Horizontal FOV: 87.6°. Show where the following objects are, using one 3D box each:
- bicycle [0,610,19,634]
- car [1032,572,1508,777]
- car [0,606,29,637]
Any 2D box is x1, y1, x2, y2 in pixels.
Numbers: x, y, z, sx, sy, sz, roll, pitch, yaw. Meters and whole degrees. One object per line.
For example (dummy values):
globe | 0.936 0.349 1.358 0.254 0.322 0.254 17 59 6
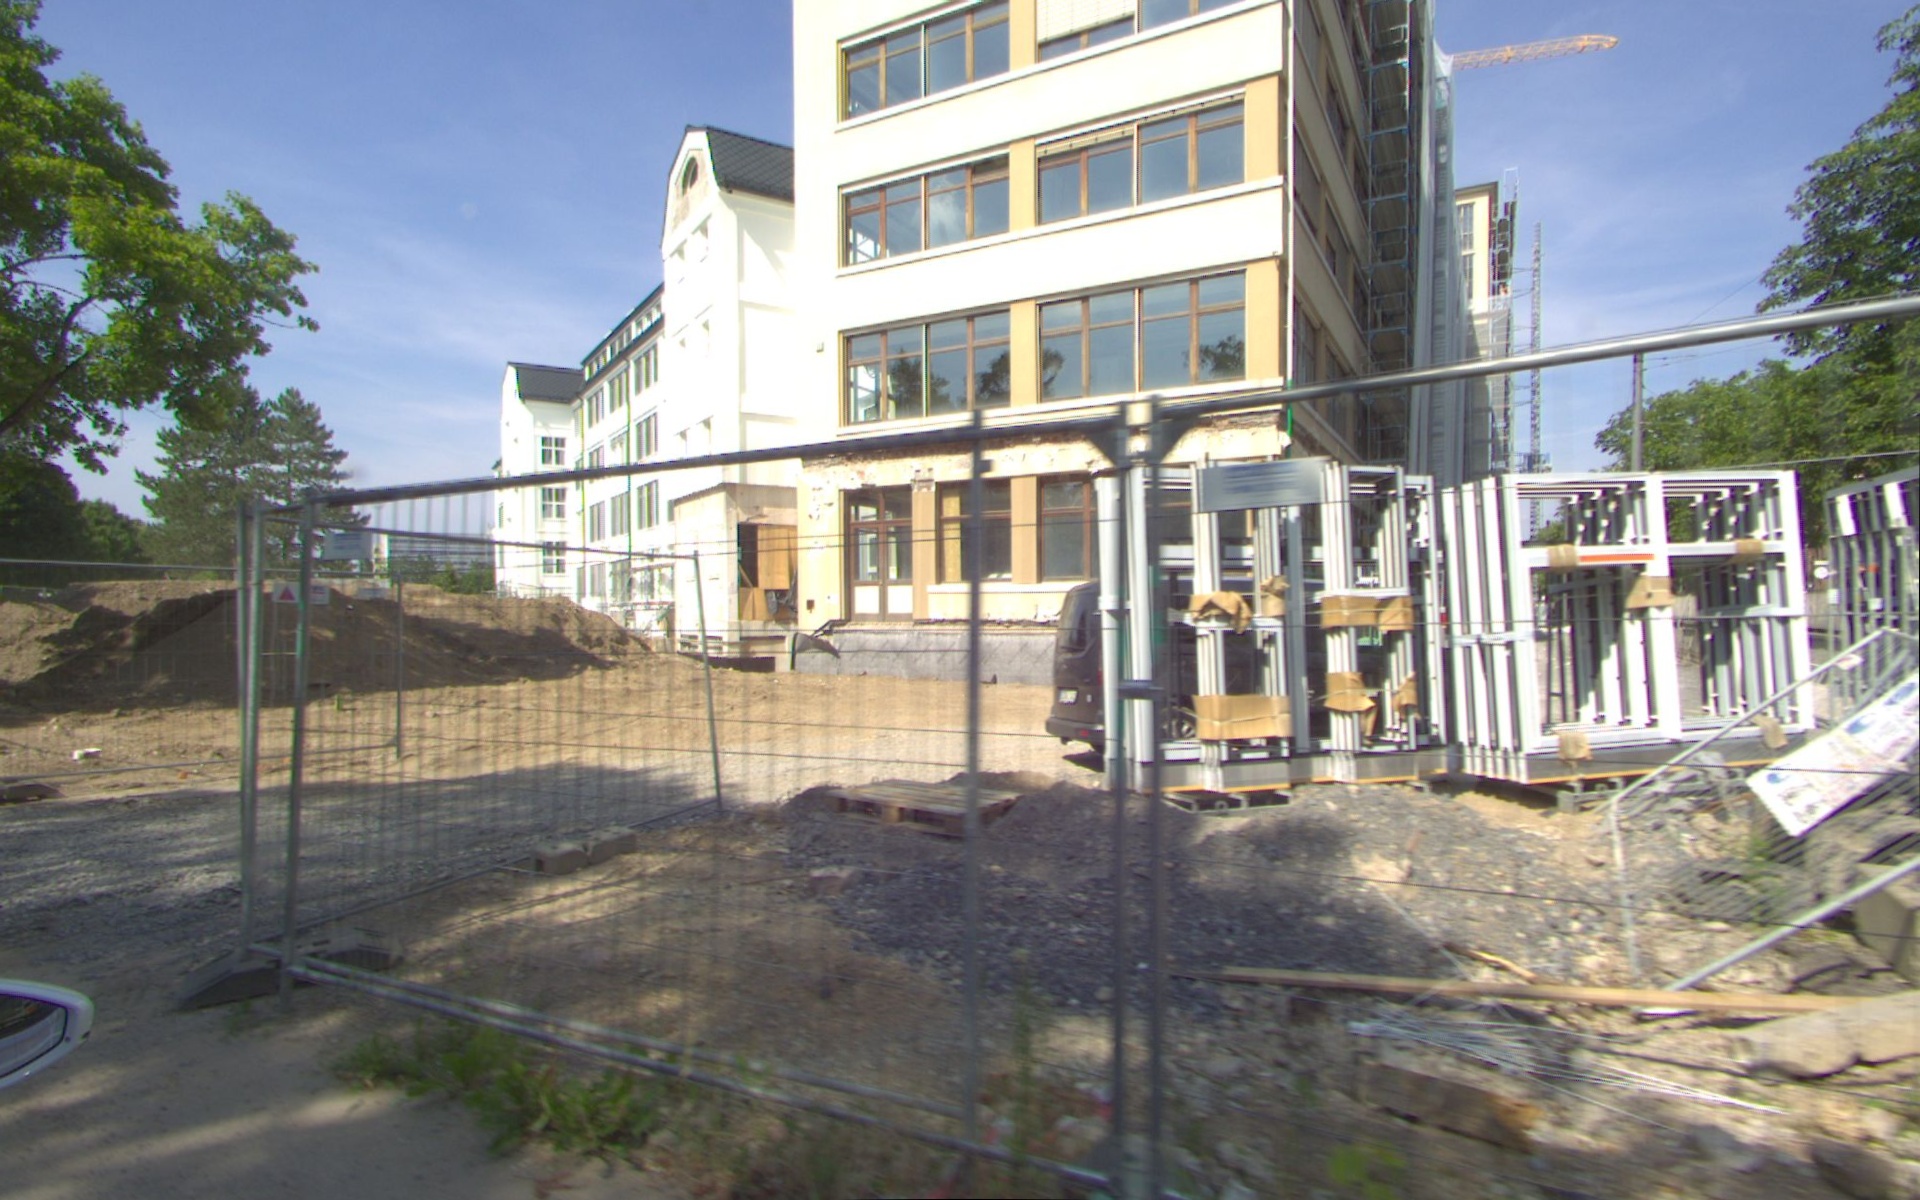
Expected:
bicycle | -52.344 1.191 54.789 0.808 1.301 2.729 0 0 -33
car | 3.035 0.686 10.215 4.232 1.803 1.921 0 -1 -11
car | -57.791 1.262 59.042 3.944 1.795 1.757 1 0 -31
